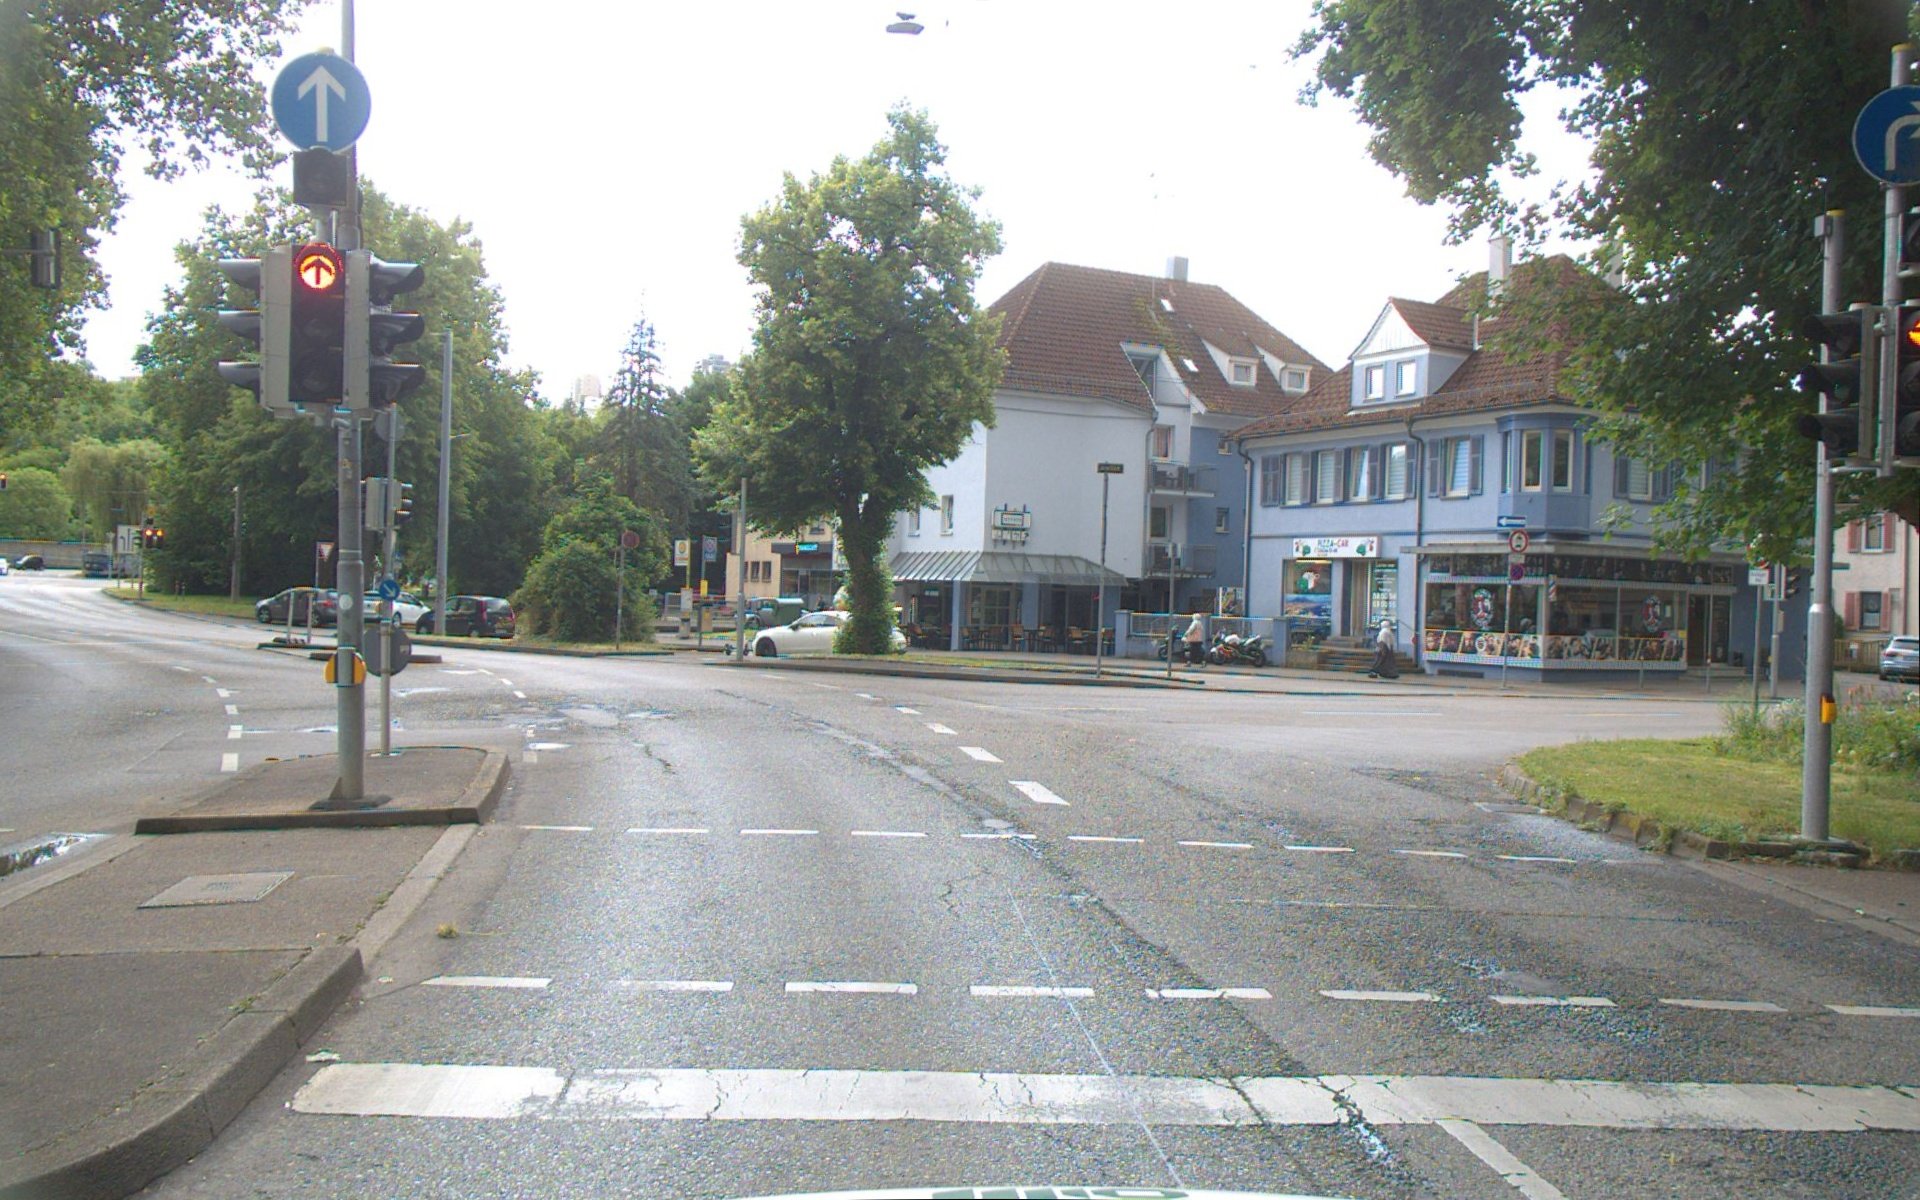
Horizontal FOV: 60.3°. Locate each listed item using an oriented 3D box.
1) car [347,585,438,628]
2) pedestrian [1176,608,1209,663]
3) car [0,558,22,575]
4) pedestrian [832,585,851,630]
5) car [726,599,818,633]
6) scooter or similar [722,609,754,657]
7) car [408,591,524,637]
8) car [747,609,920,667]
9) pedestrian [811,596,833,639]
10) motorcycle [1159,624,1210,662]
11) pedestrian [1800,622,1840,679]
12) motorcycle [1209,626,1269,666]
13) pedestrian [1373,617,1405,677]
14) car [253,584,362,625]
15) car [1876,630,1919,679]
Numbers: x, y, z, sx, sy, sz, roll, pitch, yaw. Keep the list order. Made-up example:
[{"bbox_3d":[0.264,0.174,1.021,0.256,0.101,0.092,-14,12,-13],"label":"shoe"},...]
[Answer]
[{"bbox_3d":[-22.729,0.266,66.402,1.821,1.668,3.757,1,0,10],"label":"car"},{"bbox_3d":[6.749,1.031,47.988,0.717,1.587,0.767,0,-1,30],"label":"pedestrian"},{"bbox_3d":[-88.663,-3.101,153.860,2.970,1.442,1.492,0,-2,40],"label":"car"},{"bbox_3d":[-4.238,0.276,59.113,0.531,1.587,0.468,0,-1,13],"label":"pedestrian"},{"bbox_3d":[-8.576,0.740,75.476,3.880,1.467,1.742,1,0,-21],"label":"car"},{"bbox_3d":[-5.698,0.833,42.505,0.433,1.195,1.439,1,0,8],"label":"scooter or similar"},{"bbox_3d":[-15.911,0.452,53.260,3.252,1.376,1.778,1,0,27],"label":"car"},{"bbox_3d":[-3.529,1.025,45.679,4.618,1.435,1.896,1,0,35],"label":"car"},{"bbox_3d":[-6.726,0.833,80.570,0.823,2.049,1.052,1,0,-15],"label":"pedestrian"},{"bbox_3d":[6.817,1.292,50.206,1.430,1.107,0.522,1,0,35],"label":"motorcycle"},{"bbox_3d":[24.086,1.411,46.335,0.659,1.587,0.743,1,-1,-15],"label":"pedestrian"},{"bbox_3d":[8.170,1.343,48.456,1.595,1.107,0.625,1,0,32],"label":"motorcycle"},{"bbox_3d":[11.535,1.270,44.457,0.681,1.587,0.665,0,-1,30],"label":"pedestrian"},{"bbox_3d":[-25.004,0.159,63.419,3.695,1.491,1.622,1,0,18],"label":"car"},{"bbox_3d":[29.701,1.691,51.684,1.849,1.415,3.608,1,0,28],"label":"car"}]
